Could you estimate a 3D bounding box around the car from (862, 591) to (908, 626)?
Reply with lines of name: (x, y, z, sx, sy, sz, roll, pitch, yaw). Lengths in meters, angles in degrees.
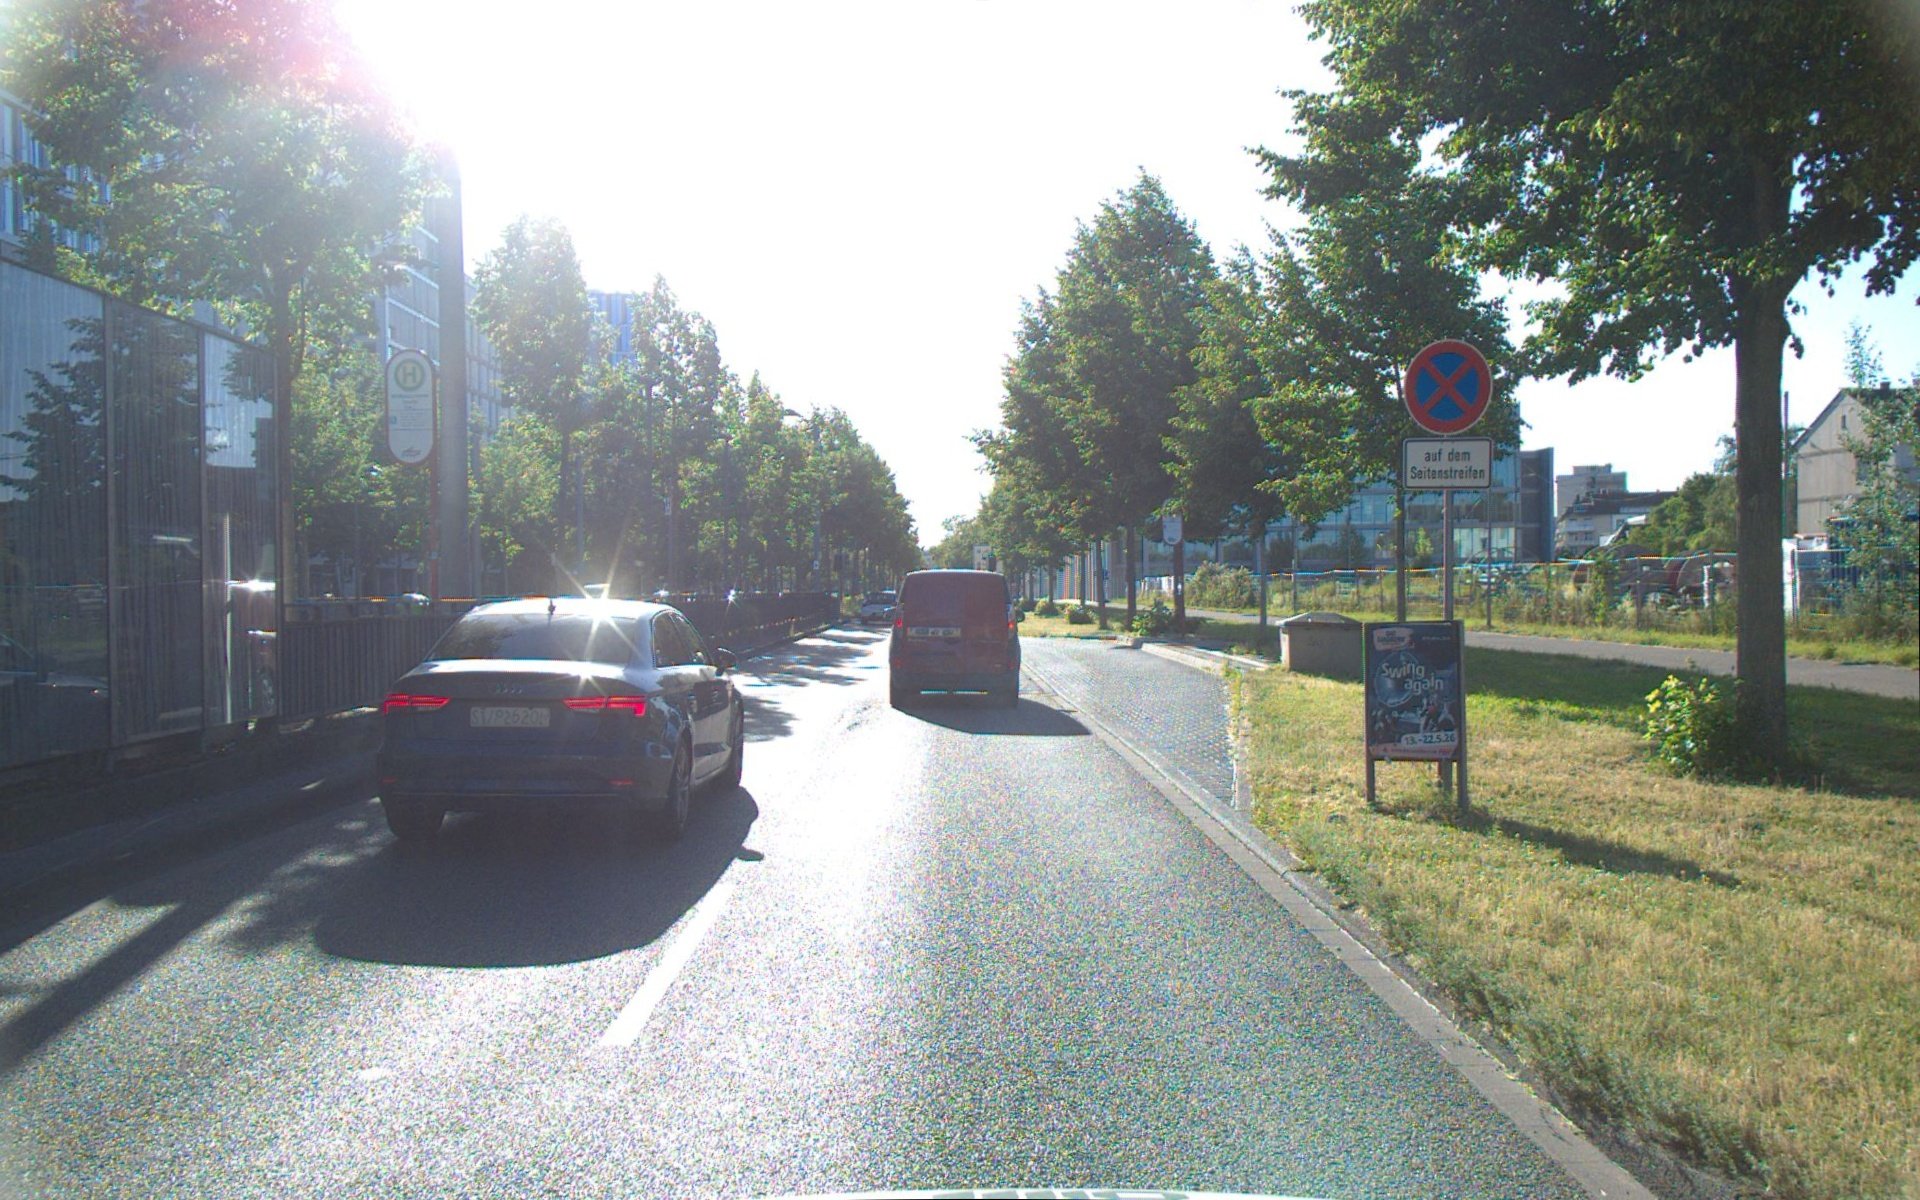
car: (-3.244, 0.348, 71.535, 1.903, 1.466, 3.998, -1, 0, -3)

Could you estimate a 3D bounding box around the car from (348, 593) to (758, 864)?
car: (-2.416, 0.674, 10.874, 1.686, 1.390, 4.145, 1, 1, -1)

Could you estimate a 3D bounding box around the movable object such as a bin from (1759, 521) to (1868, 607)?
movable object such as a bin: (21.150, -0.864, 41.052, 1.758, 2.049, 1.789, 0, -1, 0)

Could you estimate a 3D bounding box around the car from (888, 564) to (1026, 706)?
car: (-0.125, 0.433, 23.195, 1.762, 1.808, 3.998, 0, 0, -3)

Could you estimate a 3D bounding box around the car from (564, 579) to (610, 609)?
car: (-23.731, -0.363, 105.364, 1.953, 1.780, 4.226, -2, 0, -1)
